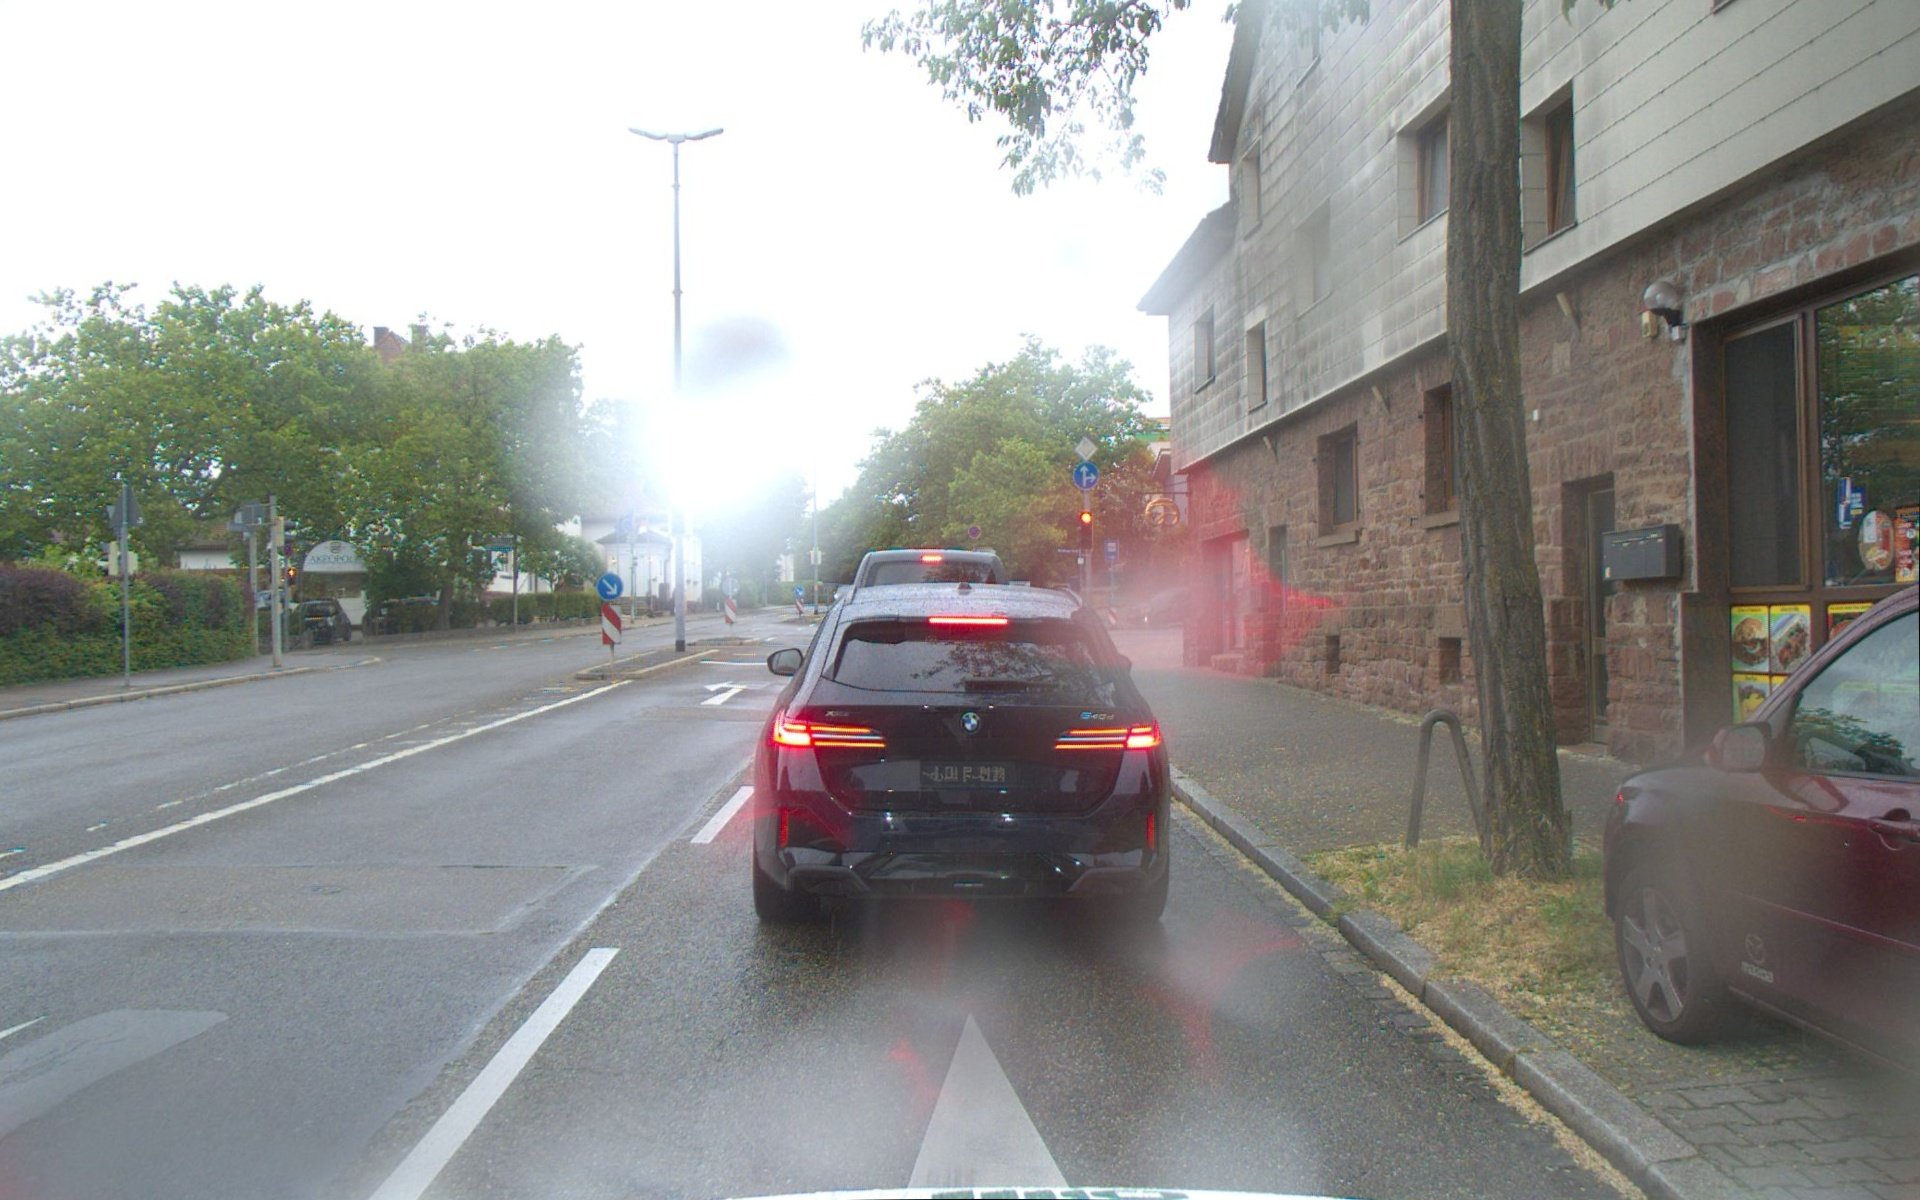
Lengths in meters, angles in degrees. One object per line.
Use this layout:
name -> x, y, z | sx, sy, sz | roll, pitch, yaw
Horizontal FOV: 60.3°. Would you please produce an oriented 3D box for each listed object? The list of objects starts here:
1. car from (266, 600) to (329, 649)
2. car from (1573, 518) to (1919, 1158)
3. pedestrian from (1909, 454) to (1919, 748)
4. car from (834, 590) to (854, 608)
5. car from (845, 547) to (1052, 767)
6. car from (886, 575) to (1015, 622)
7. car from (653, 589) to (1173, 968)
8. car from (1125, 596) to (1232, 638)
car -> -23.286, 0.834, 58.145 | 1.966, 1.579, 3.973 | 0, 1, -22
car -> 3.037, 0.534, 3.916 | 1.553, 1.516, 3.624 | -4, 1, -4
pedestrian -> 6.421, 0.008, 10.411 | 0.624, 1.871, 0.483 | 0, 0, -1
car -> -9.365, -0.068, 133.928 | 1.435, 1.422, 3.321 | 0, 1, -1
car -> -0.193, 0.451, 15.972 | 1.748, 1.849, 3.998 | 0, 1, -3
car -> -0.370, -0.057, 62.154 | 4.402, 1.614, 2.059 | -2, 1, -20
car -> -0.299, 0.690, 8.717 | 2.023, 1.472, 4.480 | 1, 0, -3
car -> 8.261, 0.625, 62.736 | 3.860, 1.536, 2.001 | 0, 1, 2
